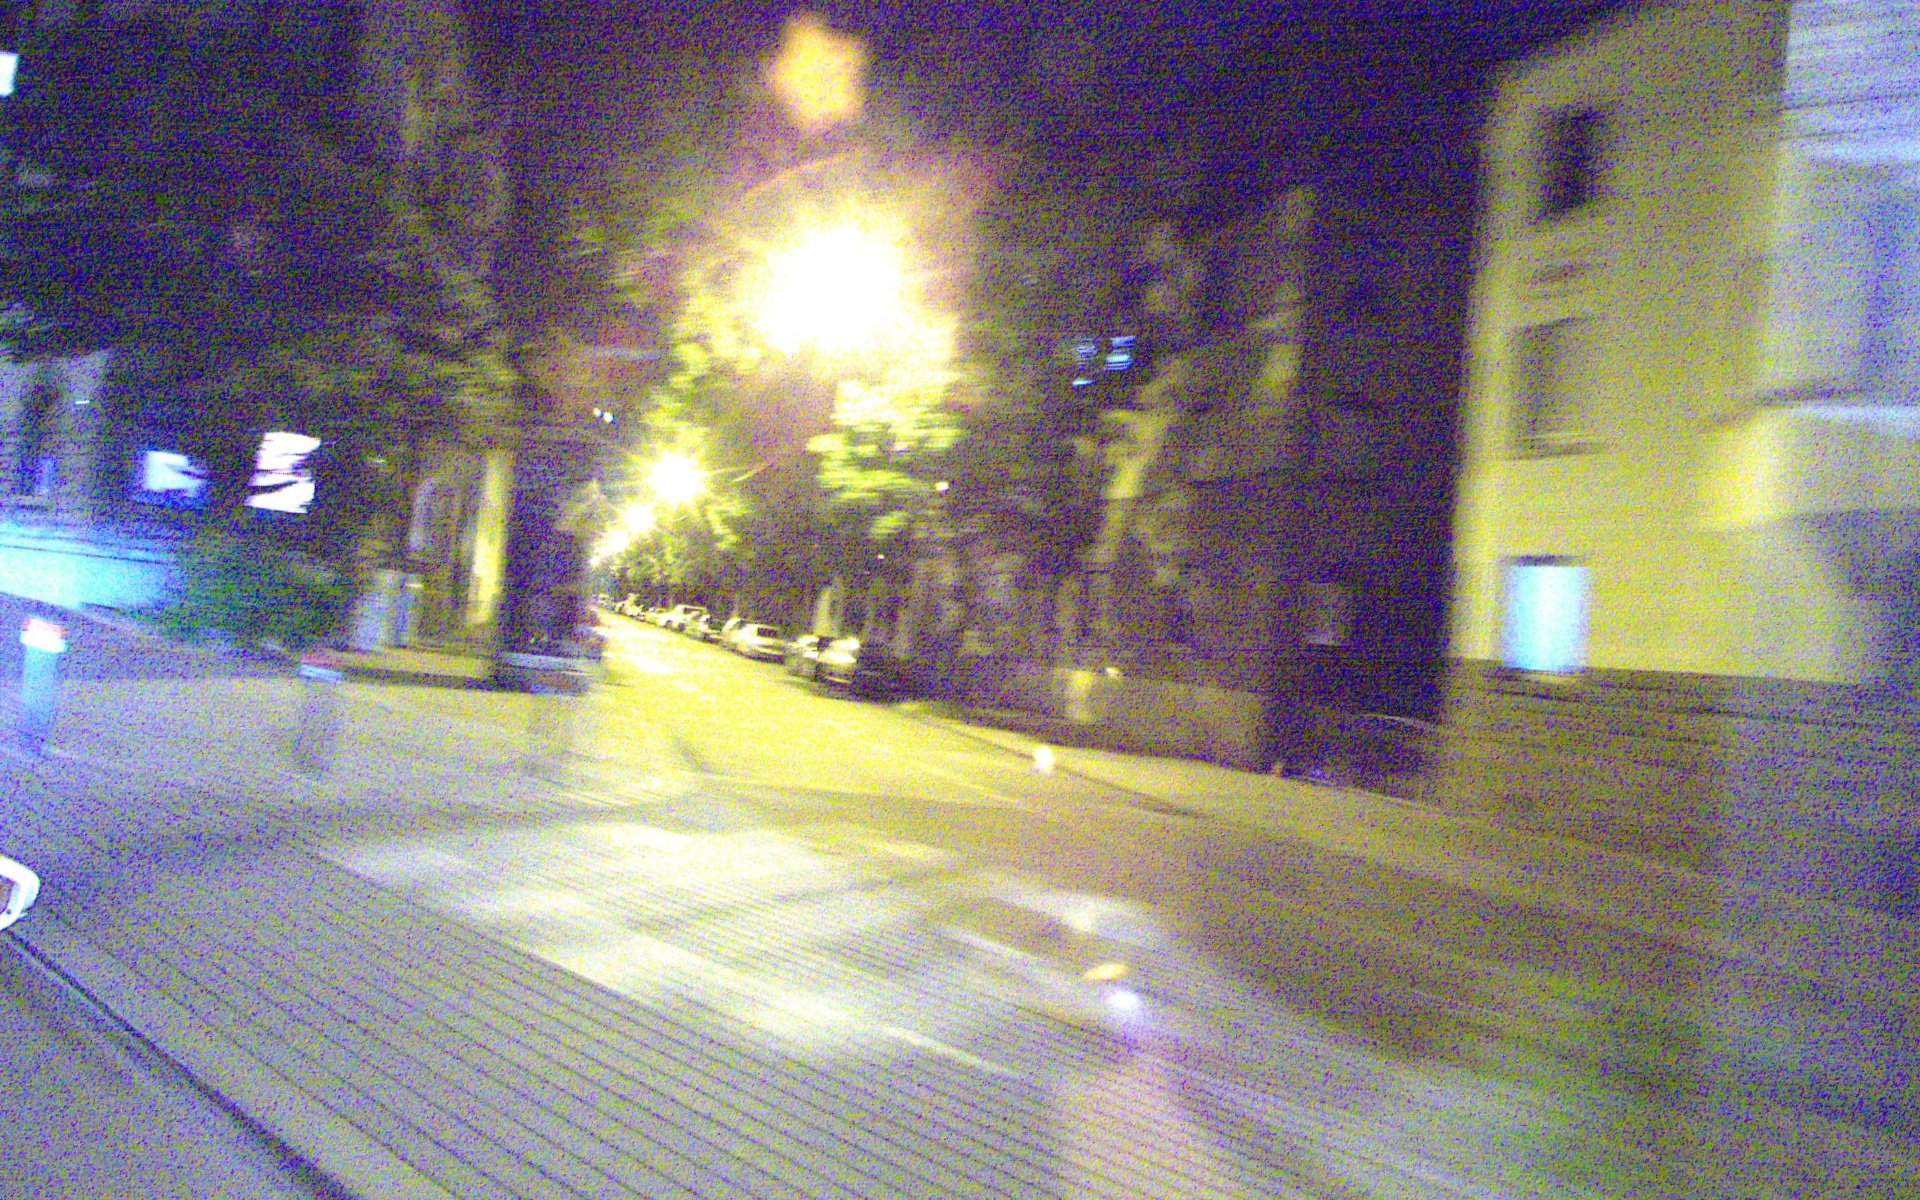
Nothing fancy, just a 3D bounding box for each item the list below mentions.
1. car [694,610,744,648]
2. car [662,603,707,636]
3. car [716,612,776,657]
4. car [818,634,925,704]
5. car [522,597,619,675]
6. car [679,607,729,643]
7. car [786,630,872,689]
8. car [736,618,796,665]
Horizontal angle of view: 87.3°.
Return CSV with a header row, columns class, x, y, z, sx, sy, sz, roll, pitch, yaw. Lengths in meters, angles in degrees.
class,x,y,z,sx,sy,sz,roll,pitch,yaw
car,-13.301,1.577,55.419,1.974,1.723,3.978,9,-3,-21
car,-18.620,1.282,67.903,1.977,1.822,3.975,9,-3,-27
car,-10.145,1.595,47.437,1.974,1.723,4.014,9,-3,-21
car,-2.470,1.828,27.305,1.778,1.433,3.822,9,-3,-20
car,-8.990,0.783,23.344,1.778,1.433,3.822,9,-3,-20
car,-15.566,1.482,61.032,1.977,1.783,3.975,9,-3,-27
car,-4.256,1.859,32.222,1.778,1.433,3.822,9,-3,-20
car,-8.283,1.732,42.644,1.777,1.597,3.823,8,-3,-19
